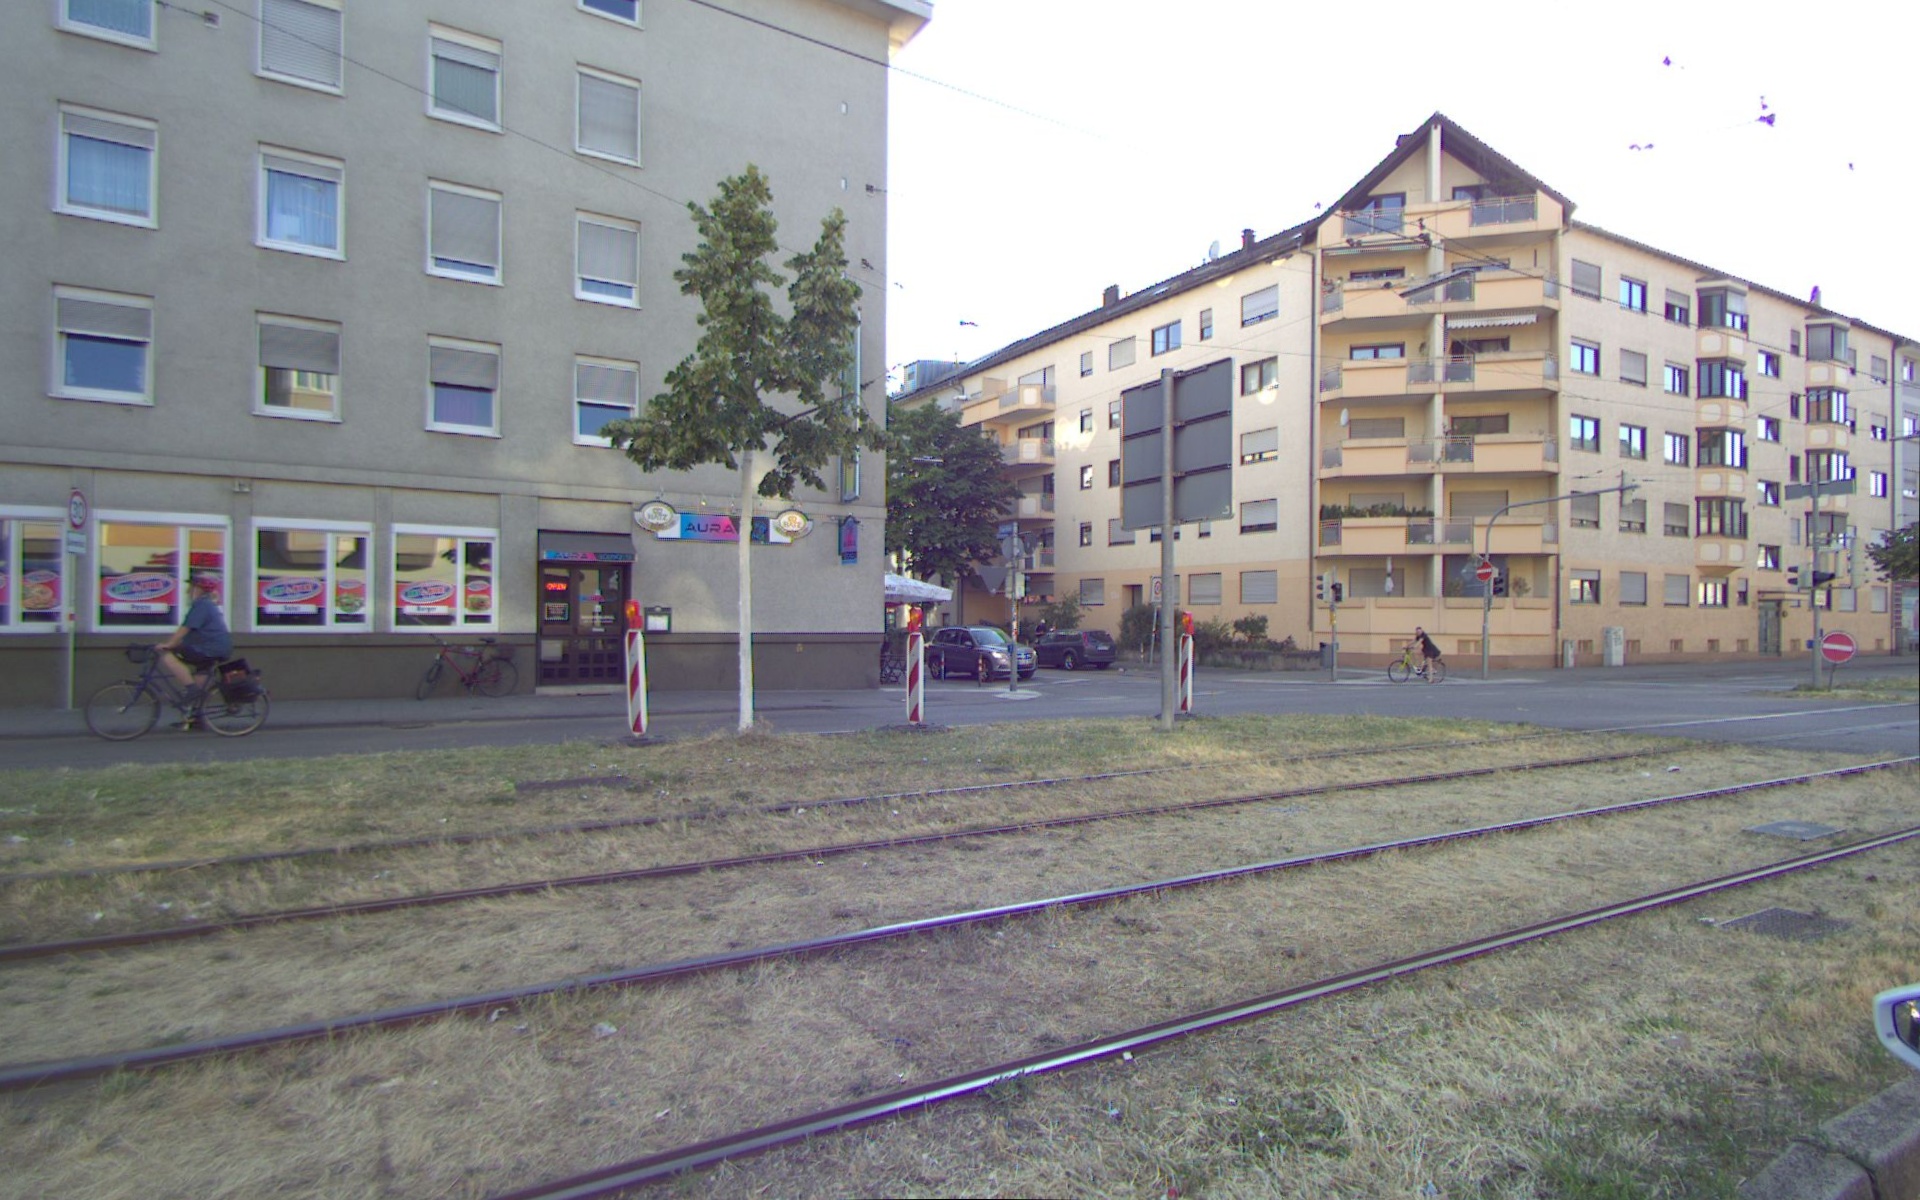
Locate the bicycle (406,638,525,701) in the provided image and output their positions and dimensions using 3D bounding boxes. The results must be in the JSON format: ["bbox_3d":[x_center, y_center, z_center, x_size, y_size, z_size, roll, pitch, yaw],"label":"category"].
[{"bbox_3d":[-8.687,1.214,17.656,1.823,1.037,0.605,2,0,-31],"label":"bicycle"}]

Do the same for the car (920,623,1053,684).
[{"bbox_3d":[0.761,1.613,31.460,1.982,1.645,4.153,-3,1,-38],"label":"car"}]

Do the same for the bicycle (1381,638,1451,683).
[{"bbox_3d":[13.291,1.755,29.283,1.833,1.274,0.457,0,0,3],"label":"bicycle"}]

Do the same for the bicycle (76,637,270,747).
[{"bbox_3d":[-9.764,1.111,12.539,1.848,1.274,0.453,0,0,-29],"label":"bicycle"}]

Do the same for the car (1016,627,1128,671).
[{"bbox_3d":[4.139,1.799,37.578,1.982,1.462,3.957,-2,0,-38],"label":"car"}]

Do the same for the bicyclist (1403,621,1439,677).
[{"bbox_3d":[13.451,1.428,29.316,0.793,1.607,0.628,0,0,4],"label":"bicyclist"}]

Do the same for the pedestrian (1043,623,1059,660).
[{"bbox_3d":[4.026,1.826,44.480,0.508,1.573,0.547,0,1,-24],"label":"pedestrian"}]

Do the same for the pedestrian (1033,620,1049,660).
[{"bbox_3d":[3.560,1.747,44.201,0.456,1.727,0.589,2,0,-24],"label":"pedestrian"}]

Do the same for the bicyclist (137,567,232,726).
[{"bbox_3d":[-9.691,0.572,12.583,0.799,1.907,0.649,1,-2,-27],"label":"bicyclist"}]
